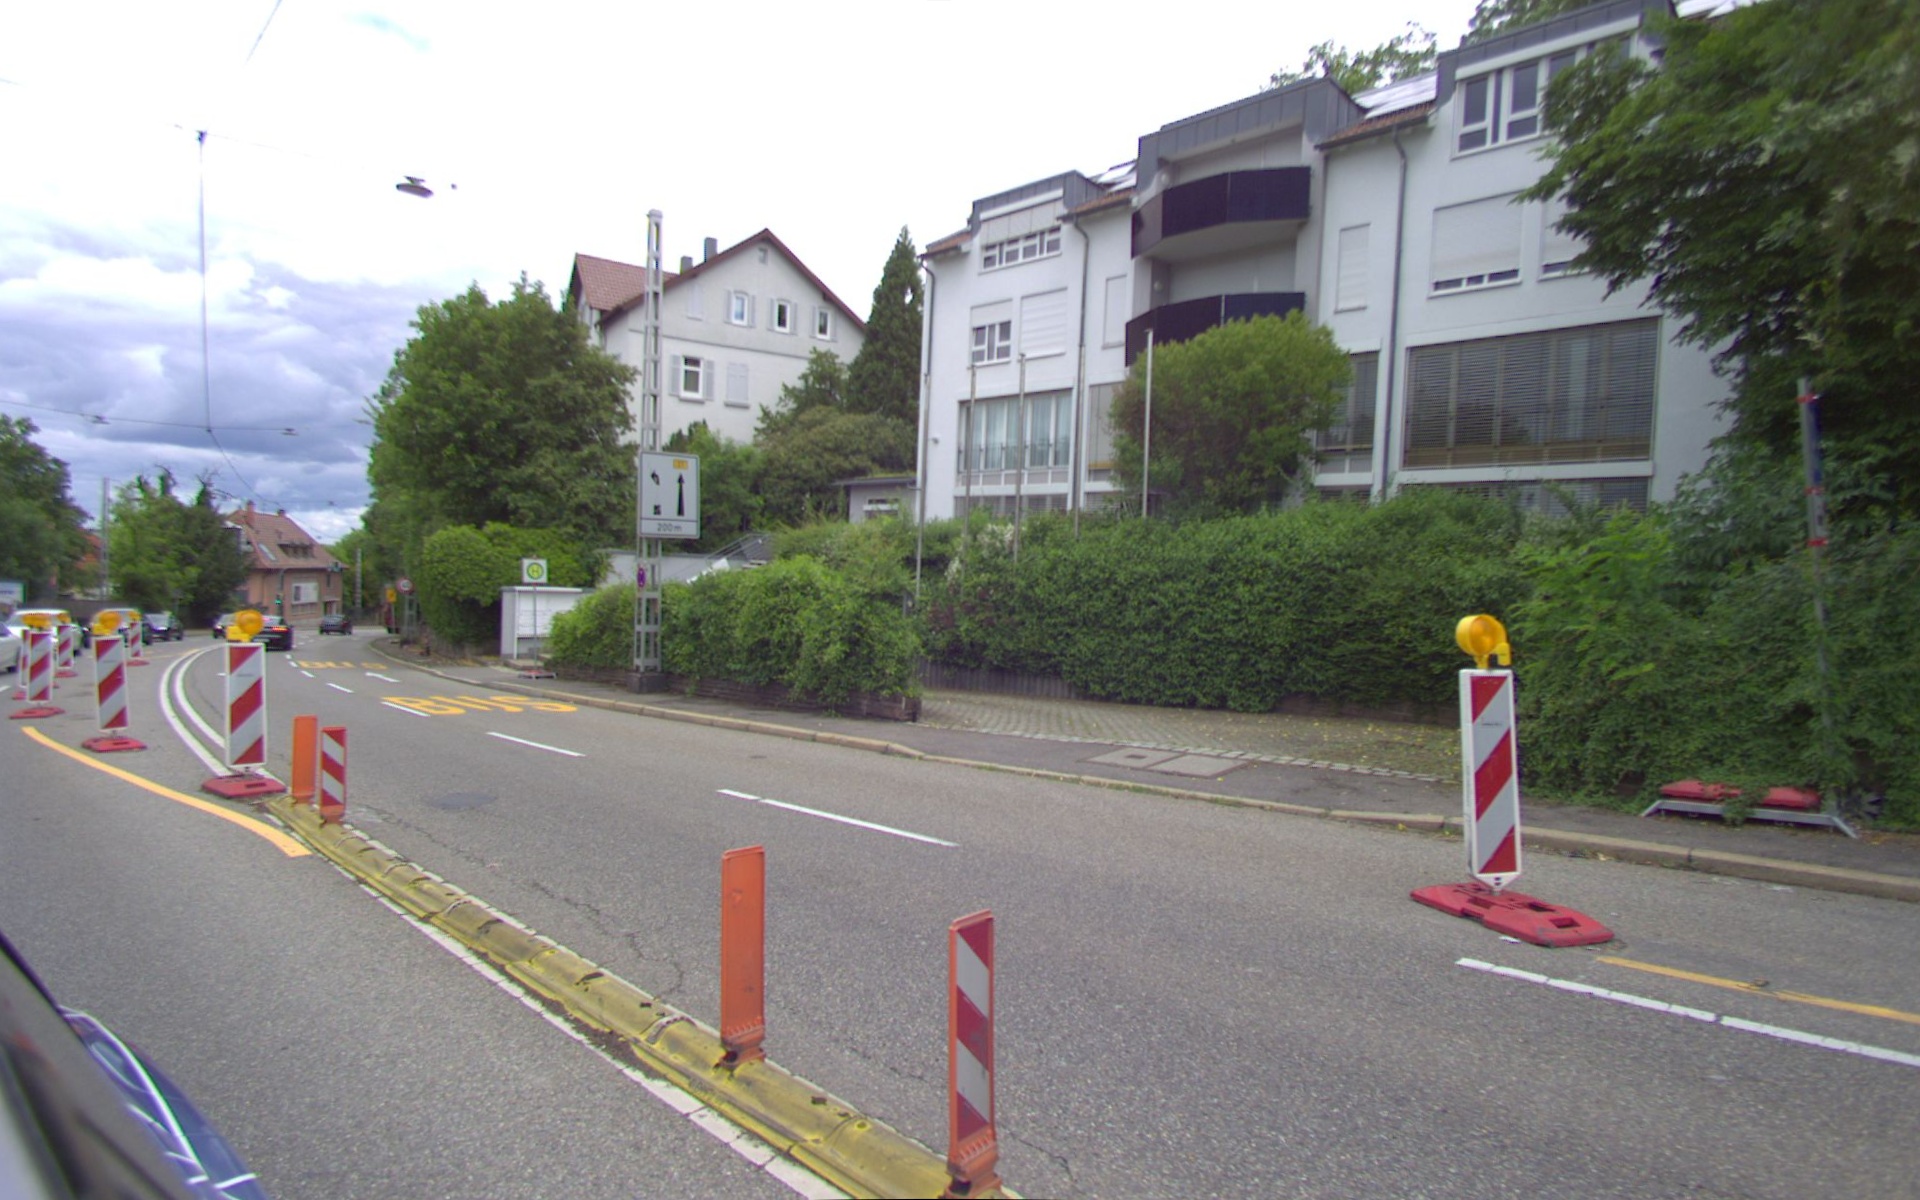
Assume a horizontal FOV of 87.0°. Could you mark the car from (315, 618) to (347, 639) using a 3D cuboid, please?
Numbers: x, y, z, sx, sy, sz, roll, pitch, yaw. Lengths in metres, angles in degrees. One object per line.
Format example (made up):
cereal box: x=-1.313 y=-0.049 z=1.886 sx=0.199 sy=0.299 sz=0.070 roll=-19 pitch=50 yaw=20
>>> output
car: x=-46.909 y=2.101 z=75.517 sx=1.690 sy=1.472 sz=4.013 roll=2 pitch=-2 yaw=-27

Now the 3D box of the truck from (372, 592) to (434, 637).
truck: x=-50.834 y=1.408 z=92.690 sx=2.821 sy=3.726 sz=9.686 roll=4 pitch=-3 yaw=-17

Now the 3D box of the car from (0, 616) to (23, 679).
car: x=-24.039 y=1.147 z=24.210 sx=1.763 sy=1.492 sz=4.256 roll=1 pitch=-1 yaw=-34

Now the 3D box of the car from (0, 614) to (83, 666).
car: x=-30.196 y=1.272 z=33.258 sx=1.764 sy=1.563 sz=4.254 roll=0 pitch=-1 yaw=-37

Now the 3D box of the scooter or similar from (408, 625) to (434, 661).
scooter or similar: x=-19.460 y=1.542 z=36.540 sx=1.282 sy=1.218 sz=0.423 roll=-1 pitch=1 yaw=45

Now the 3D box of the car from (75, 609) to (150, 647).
car: x=-36.193 y=1.208 z=43.318 sx=1.769 sy=1.522 sz=4.012 roll=2 pitch=-2 yaw=-31

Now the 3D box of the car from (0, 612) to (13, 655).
car: x=-35.288 y=1.157 z=35.641 sx=1.828 sy=1.545 sz=4.245 roll=4 pitch=-3 yaw=-30

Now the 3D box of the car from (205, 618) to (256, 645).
car: x=-43.333 y=1.836 z=60.177 sx=1.762 sy=1.492 sz=4.258 roll=0 pitch=-1 yaw=-26

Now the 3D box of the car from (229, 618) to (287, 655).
car: x=-28.478 y=1.483 z=41.129 sx=1.796 sy=1.402 sz=4.449 roll=3 pitch=-3 yaw=-34

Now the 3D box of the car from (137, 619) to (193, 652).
car: x=-40.110 y=1.752 z=51.125 sx=1.769 sy=1.522 sz=4.012 roll=0 pitch=0 yaw=-32
